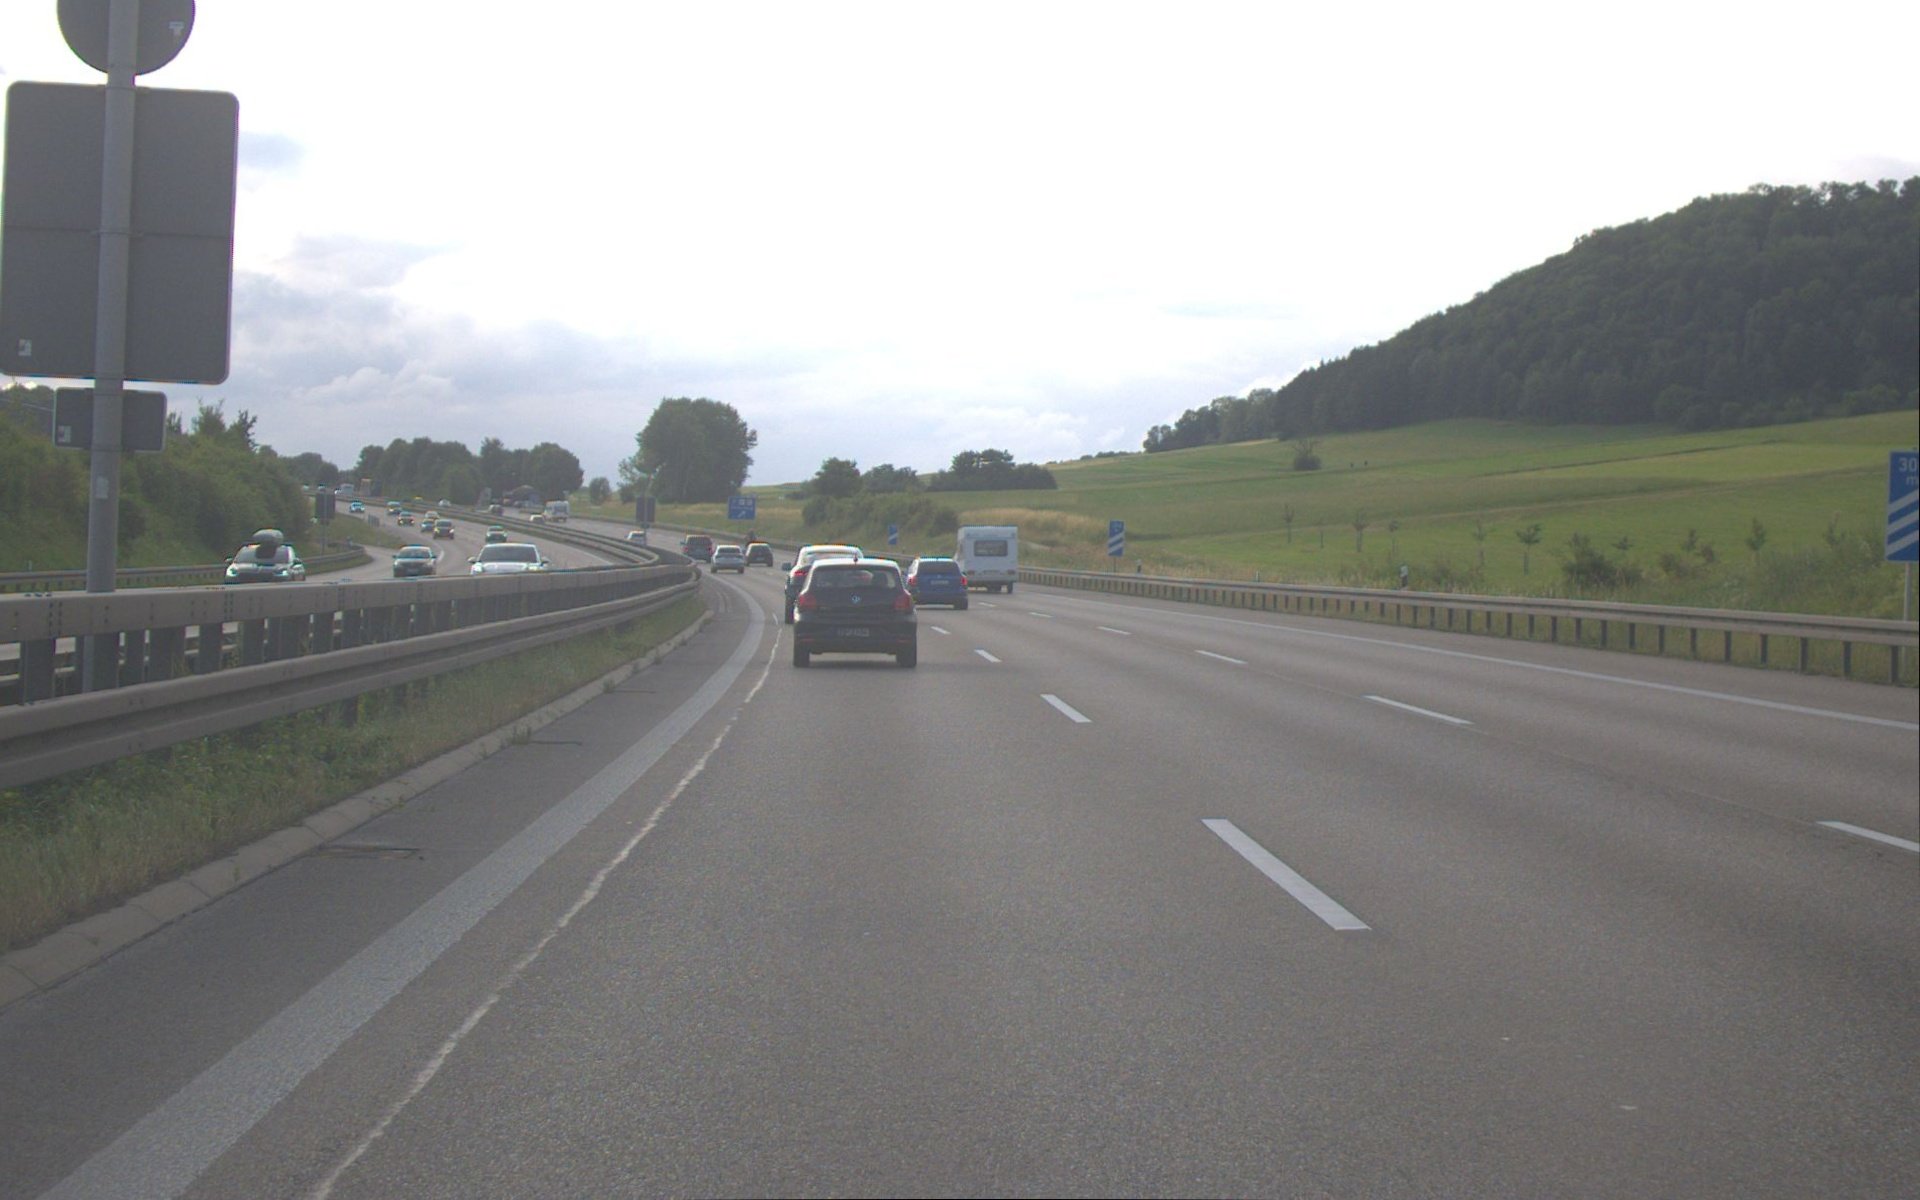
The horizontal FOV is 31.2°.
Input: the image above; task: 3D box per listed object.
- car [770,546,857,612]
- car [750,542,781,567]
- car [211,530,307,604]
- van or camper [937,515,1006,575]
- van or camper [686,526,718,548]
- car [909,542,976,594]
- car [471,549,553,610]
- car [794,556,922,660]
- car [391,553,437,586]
[{"bbox_3d":[-3.146,-0.480,74.379,1.565,1.376,4.000,1,1,2],"label":"car"},{"bbox_3d":[-12.571,-2.929,222.477,1.957,1.568,4.001,1,1,-3],"label":"car"},{"bbox_3d":[-19.901,-0.937,97.780,1.962,2.033,5.020,1,1,-3],"label":"car"},{"bbox_3d":[0.457,-2.127,132.778,2.548,2.231,5.329,0,1,1],"label":"van or camper"},{"bbox_3d":[-17.425,-4.218,231.974,1.966,1.428,4.000,1,1,-2],"label":"van or camper"},{"bbox_3d":[-0.506,-0.915,96.814,1.766,1.428,4.000,1,1,-2],"label":"car"},{"bbox_3d":[-12.290,-0.575,94.447,1.833,1.586,5.020,1,1,-3],"label":"car"},{"bbox_3d":[-1.356,0.083,47.007,1.538,1.343,3.677,1,1,2],"label":"car"},{"bbox_3d":[-24.188,-1.352,152.441,1.706,1.410,4.001,1,1,-4],"label":"car"}]
